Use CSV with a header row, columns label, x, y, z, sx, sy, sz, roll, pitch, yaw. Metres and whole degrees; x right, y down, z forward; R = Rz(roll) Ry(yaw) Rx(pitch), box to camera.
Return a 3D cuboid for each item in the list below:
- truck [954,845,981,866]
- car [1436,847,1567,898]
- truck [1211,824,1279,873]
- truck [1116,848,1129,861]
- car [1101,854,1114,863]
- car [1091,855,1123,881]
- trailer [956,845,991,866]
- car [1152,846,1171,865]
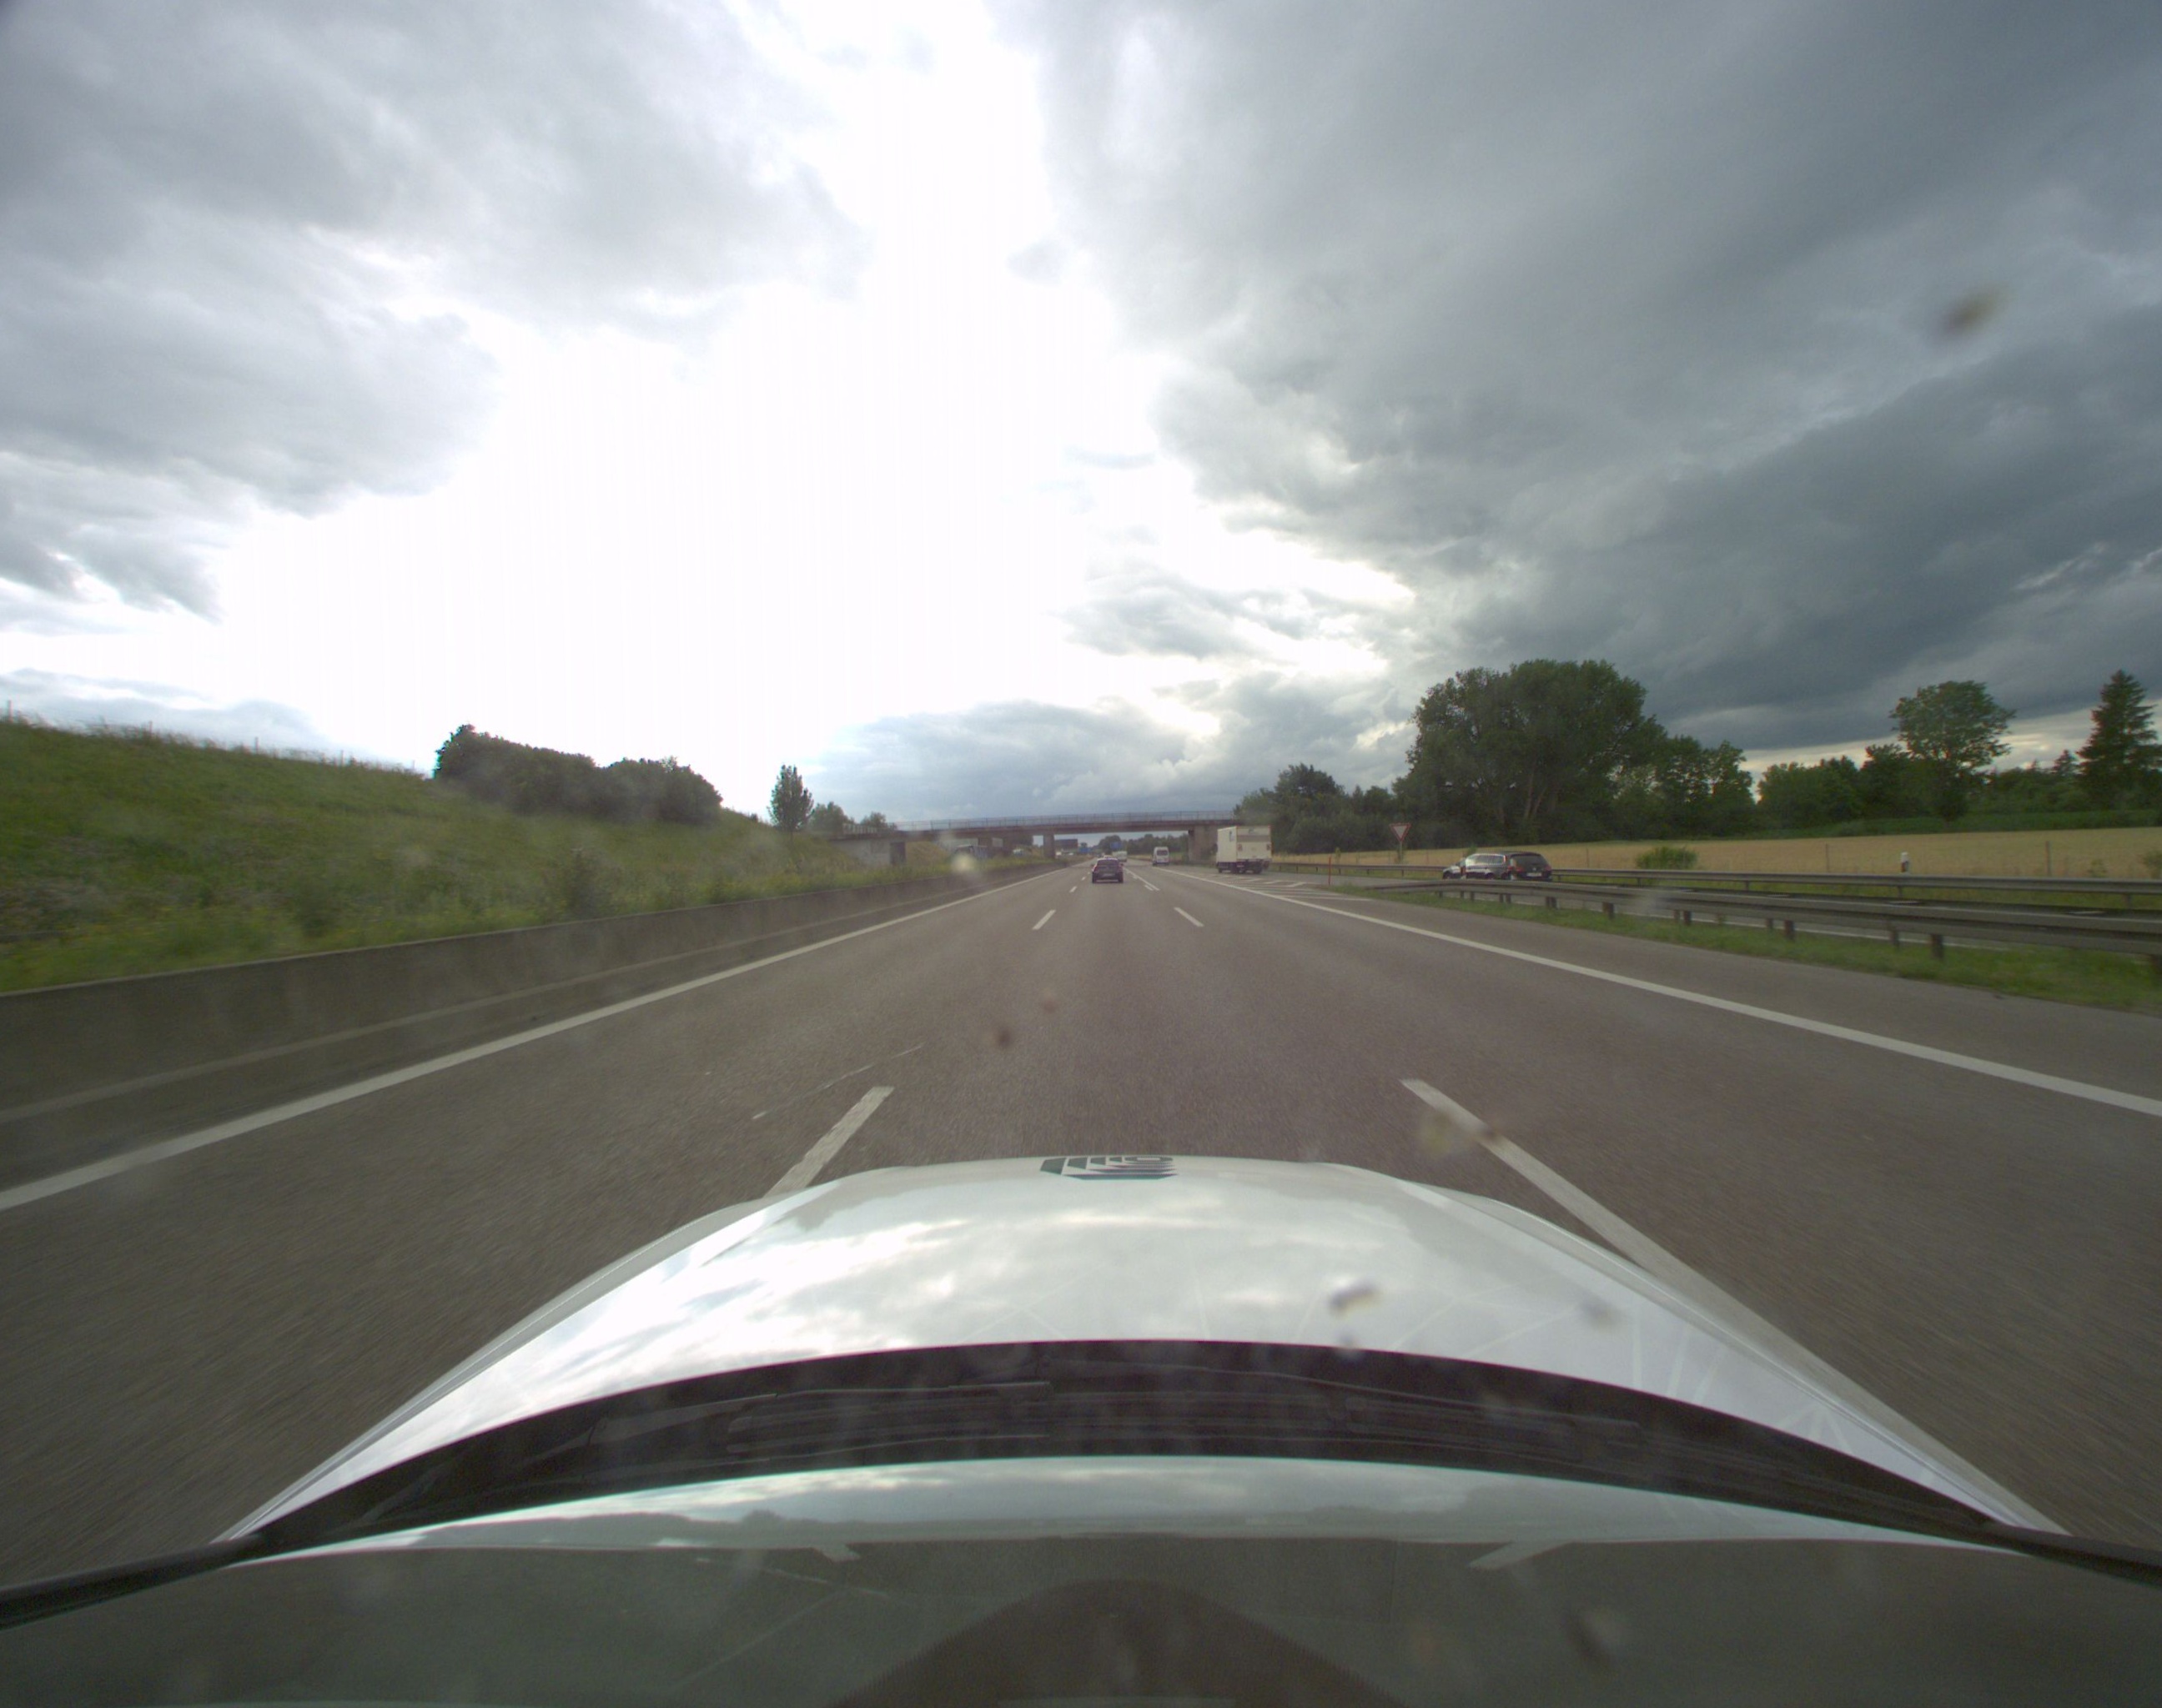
label,x,y,z,sx,sy,sz,roll,pitch,yaw
truck,-16.391,0.219,118.271,2.899,2.946,6.118,0,0,2
car,14.682,0.612,28.806,1.913,1.550,4.919,-3,0,-2
truck,12.416,-0.390,62.509,3.097,3.471,8.881,0,0,-3
truck,9.928,0.085,194.601,2.700,2.964,12.450,0,0,1
car,4.211,0.735,131.256,1.986,1.298,4.001,-3,0,1
car,1.495,0.792,47.022,1.737,1.389,4.001,-1,0,2
trailer,-16.165,0.259,123.766,2.910,2.955,13.977,0,0,2
car,11.511,0.204,116.272,2.213,2.568,6.258,-1,0,2
